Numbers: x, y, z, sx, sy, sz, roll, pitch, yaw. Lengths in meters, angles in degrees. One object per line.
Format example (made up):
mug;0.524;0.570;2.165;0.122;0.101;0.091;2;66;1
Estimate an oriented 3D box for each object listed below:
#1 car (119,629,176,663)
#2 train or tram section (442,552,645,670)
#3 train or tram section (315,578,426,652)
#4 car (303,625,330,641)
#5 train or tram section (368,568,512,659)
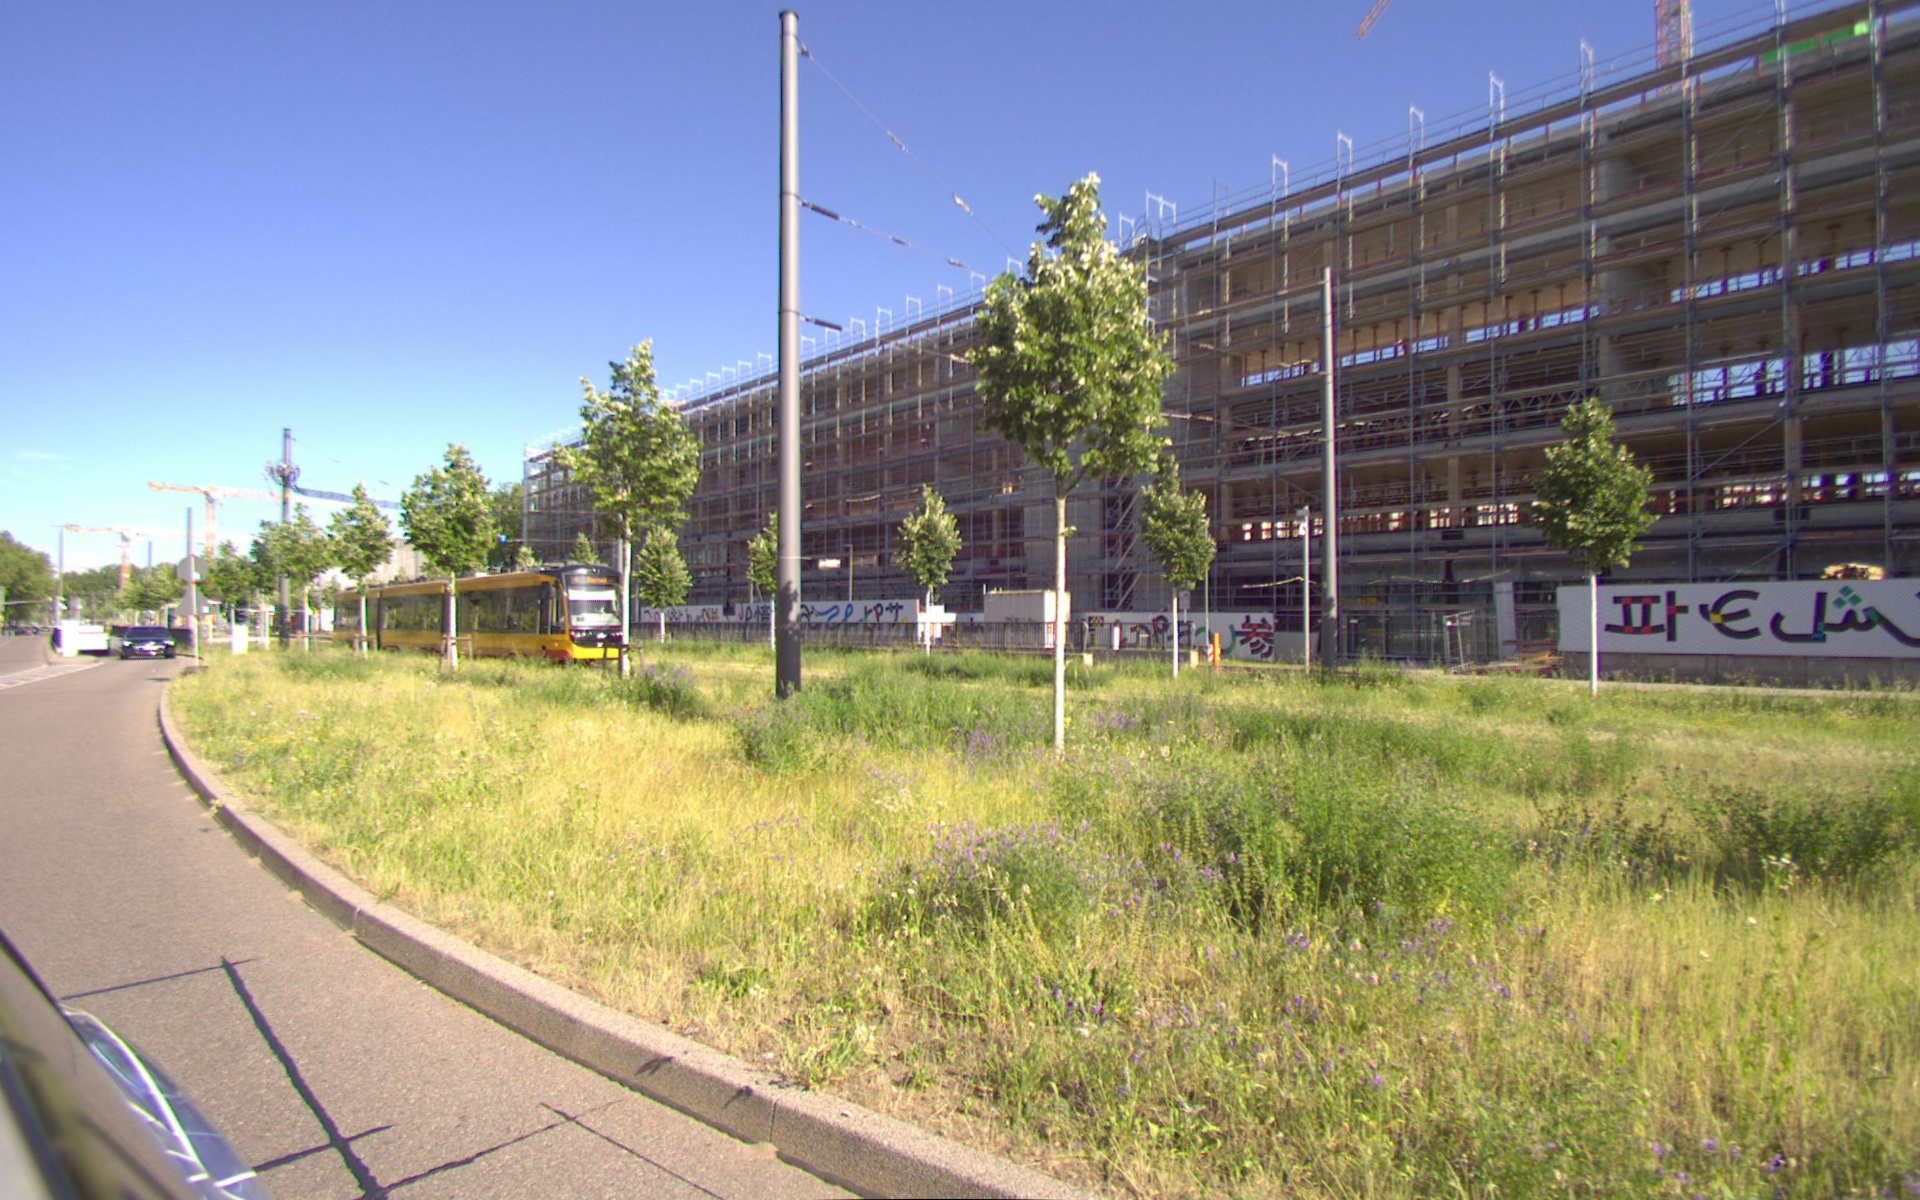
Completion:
car;-36.165;2.004;45.009;1.899;1.454;4.184;1;-2;-40
train or tram section;-15.721;0.477;37.254;2.781;3.666;12.805;1;-2;-42
train or tram section;-32.980;0.883;56.246;2.781;3.666;12.805;1;-2;-42
car;-88.147;4.512;138.601;2.304;2.175;4.402;1;-2;-43
train or tram section;-24.307;0.685;46.781;2.781;3.666;12.805;1;-2;-42
